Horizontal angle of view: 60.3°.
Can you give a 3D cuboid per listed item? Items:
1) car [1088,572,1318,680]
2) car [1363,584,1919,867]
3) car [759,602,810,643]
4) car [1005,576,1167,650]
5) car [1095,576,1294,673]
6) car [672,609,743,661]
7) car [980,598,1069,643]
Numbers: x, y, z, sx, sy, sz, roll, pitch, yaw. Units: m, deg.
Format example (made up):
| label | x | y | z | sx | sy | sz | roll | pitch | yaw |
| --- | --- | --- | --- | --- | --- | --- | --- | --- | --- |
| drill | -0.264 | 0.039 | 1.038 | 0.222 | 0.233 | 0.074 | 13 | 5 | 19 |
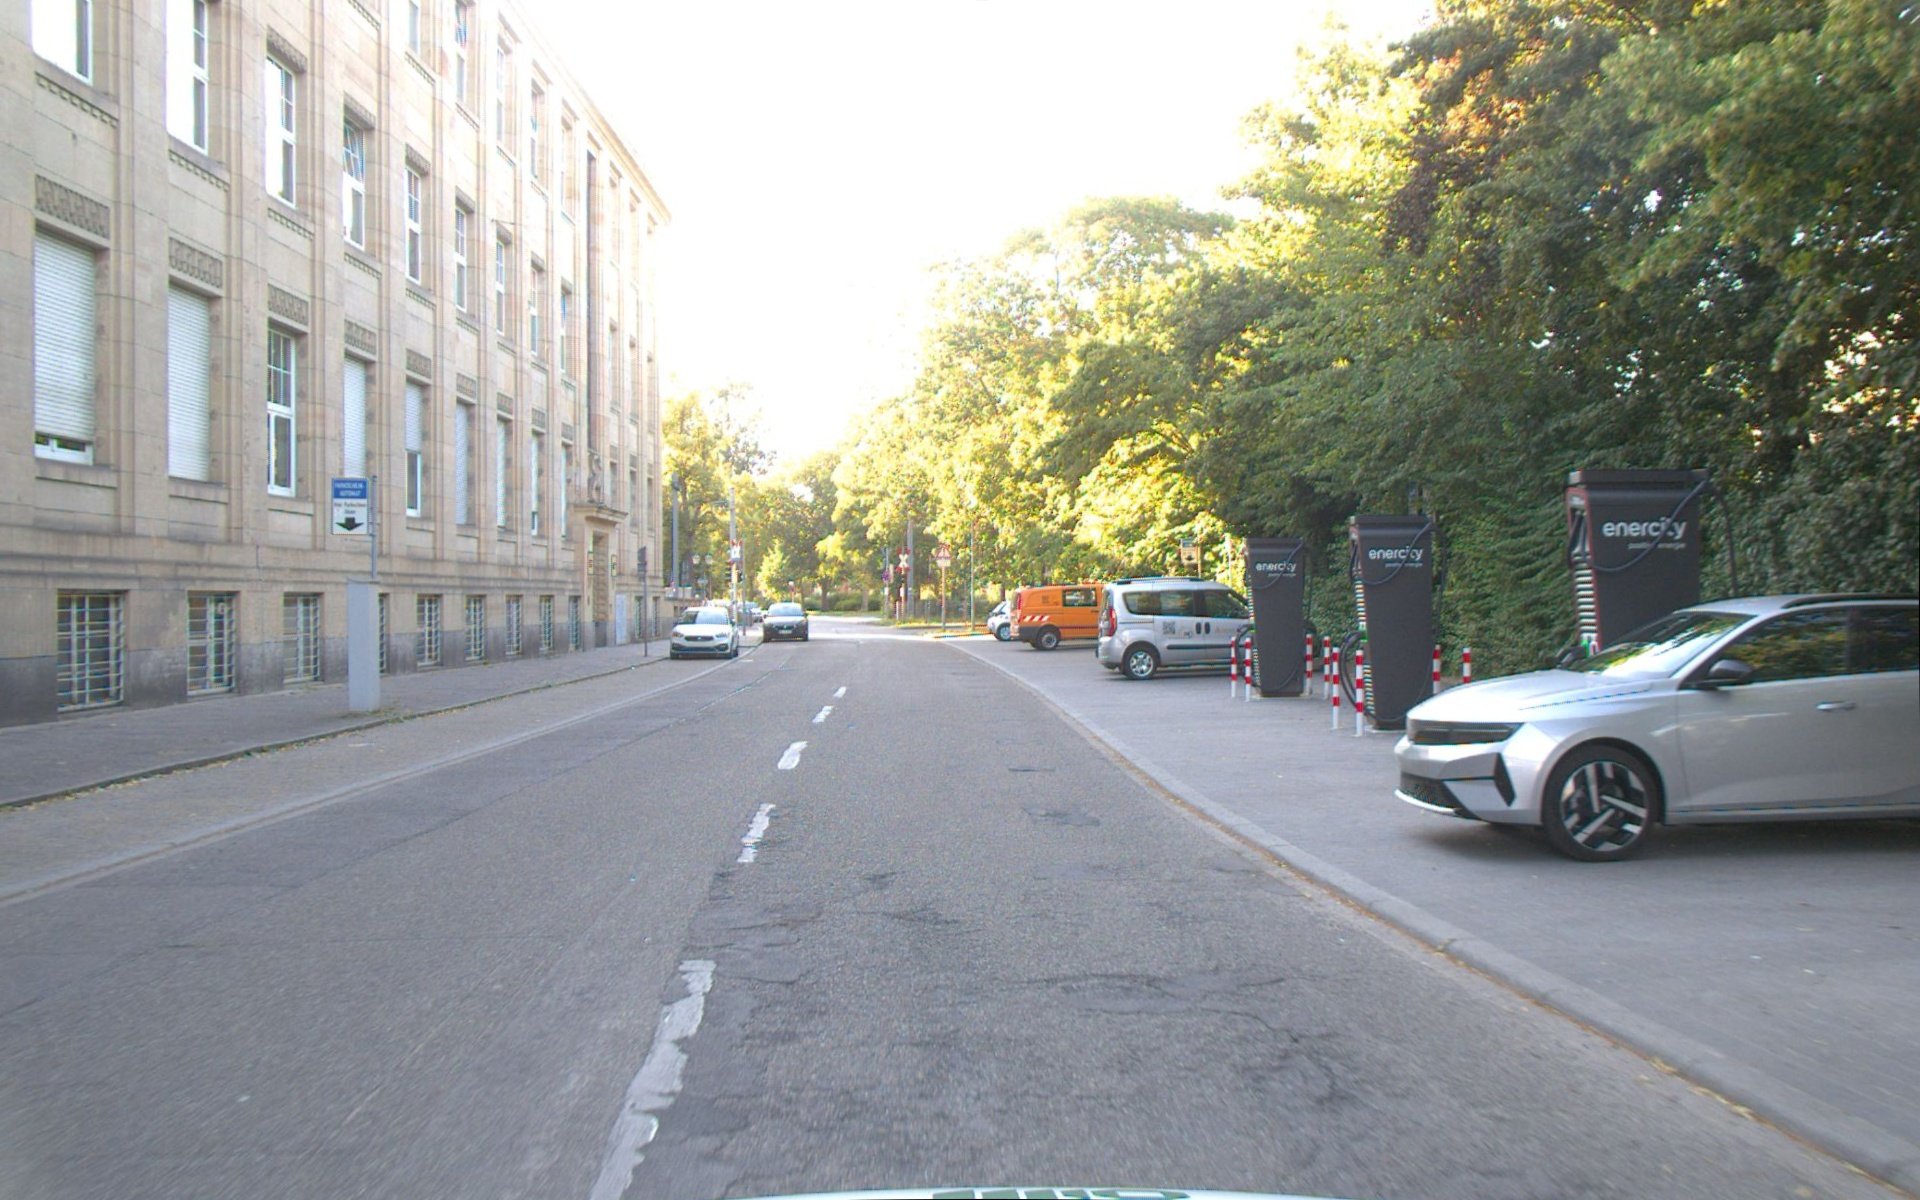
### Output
| label | x | y | z | sx | sy | sz | roll | pitch | yaw |
| --- | --- | --- | --- | --- | --- | --- | --- | --- | --- |
| car | 4.689 | 0.499 | 32.353 | 4.142 | 1.892 | 2.000 | -2 | -1 | 0 |
| car | 4.908 | 0.685 | 10.231 | 4.352 | 1.495 | 1.782 | -2 | 0 | -2 |
| car | -6.919 | 0.865 | 65.410 | 1.841 | 1.492 | 4.369 | 0 | 0 | -4 |
| car | 3.917 | 0.391 | 51.650 | 4.728 | 2.049 | 1.799 | -2 | 0 | -8 |
| car | 4.920 | 0.511 | 35.007 | 3.941 | 1.868 | 1.614 | -2 | 0 | 0 |
| car | -7.274 | 0.984 | 47.941 | 1.693 | 1.421 | 4.369 | 0 | 0 | -4 |
| car | 2.416 | 0.747 | 62.169 | 3.085 | 1.529 | 1.538 | -2 | 0 | -8 |
